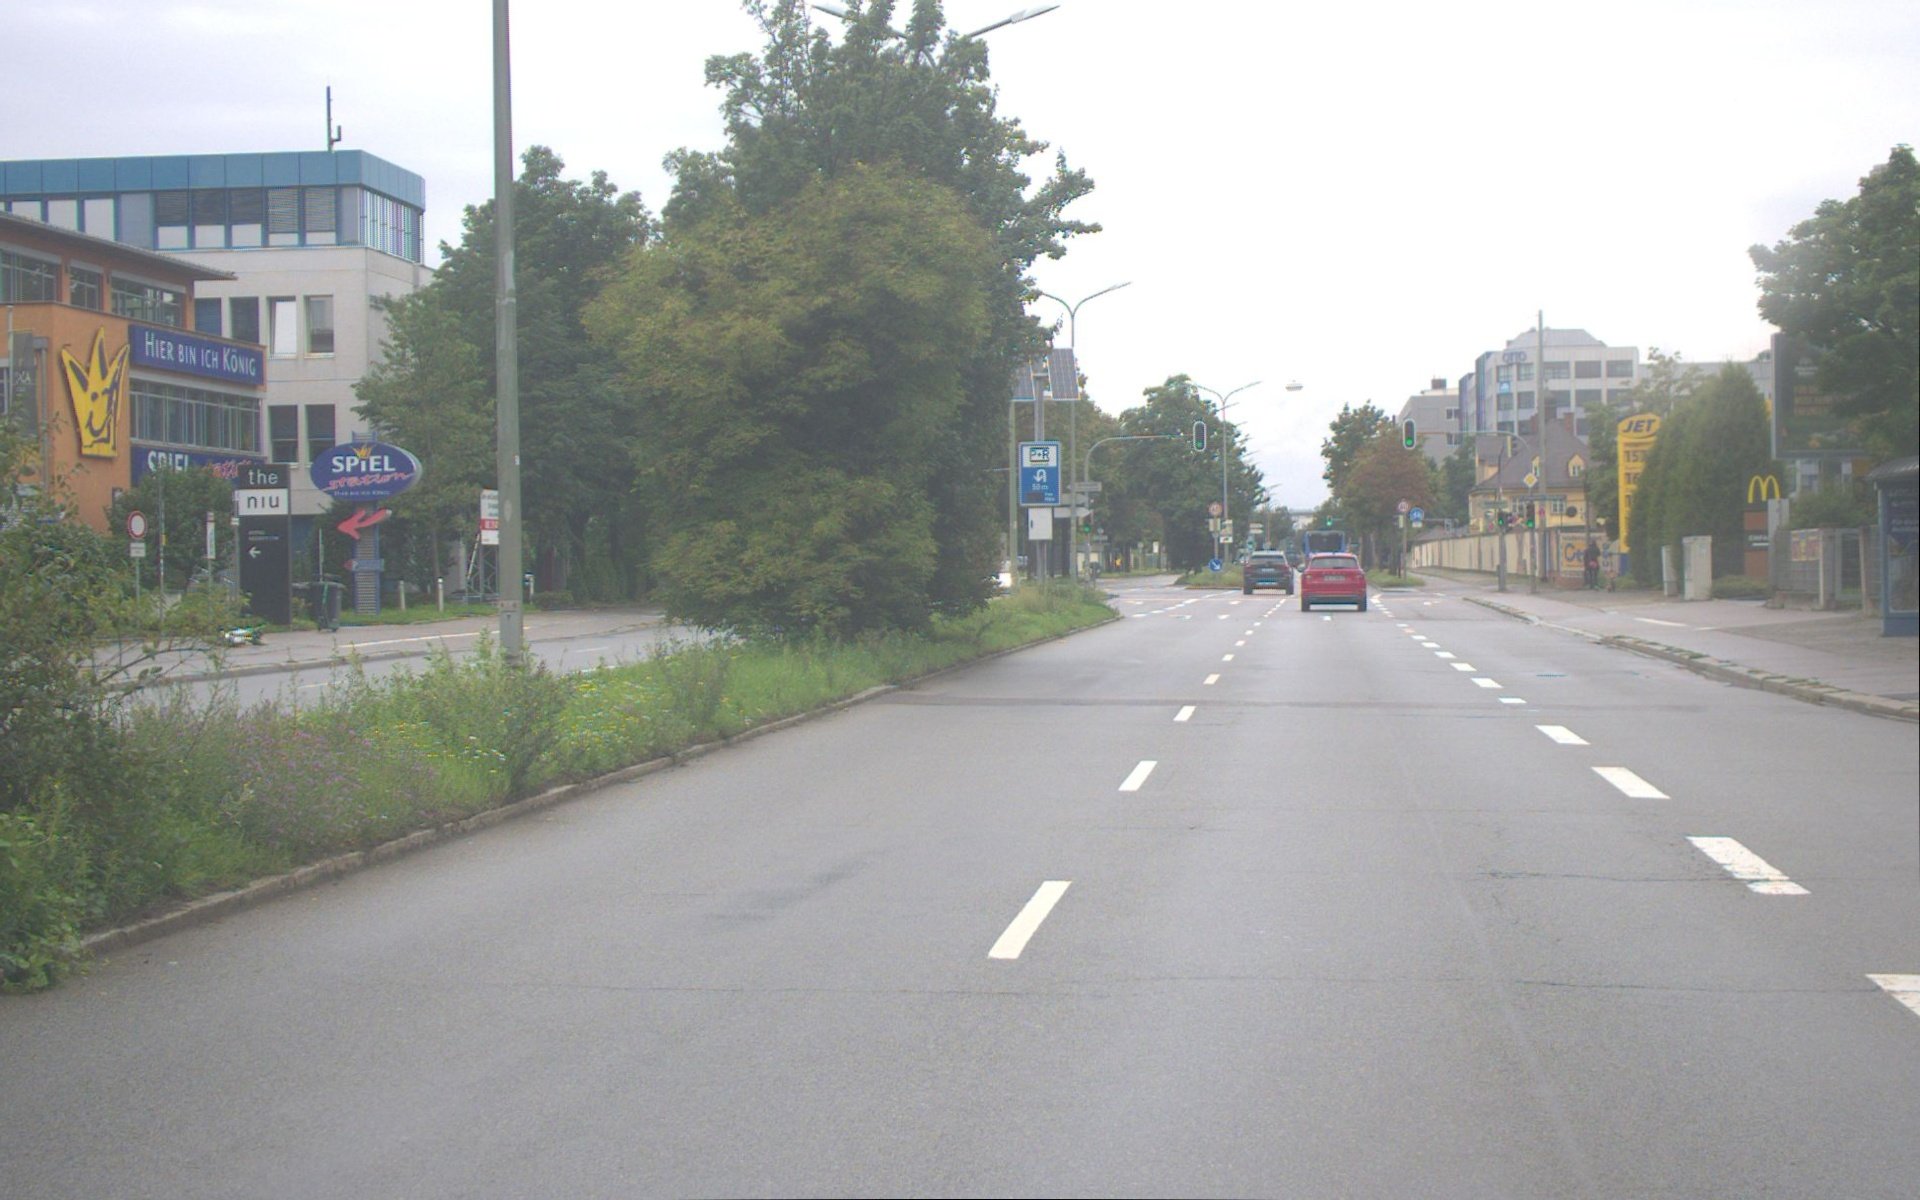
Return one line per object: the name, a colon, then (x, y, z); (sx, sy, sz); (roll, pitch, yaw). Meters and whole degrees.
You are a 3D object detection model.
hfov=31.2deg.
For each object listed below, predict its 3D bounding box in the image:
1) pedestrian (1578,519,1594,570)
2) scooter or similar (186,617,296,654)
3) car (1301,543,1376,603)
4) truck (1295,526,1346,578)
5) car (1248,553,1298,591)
pedestrian: (20.244, -1.798, 111.125); (0.483, 1.630, 0.590); (-1, 1, 11)
scooter or similar: (-13.533, 0.675, 64.777); (1.468, 0.583, 2.320); (-1, -2, 3)
car: (10.417, -0.746, 94.851); (1.862, 1.612, 3.999); (0, 0, 4)
truck: (23.422, -3.094, 223.725); (2.969, 3.274, 7.914); (-1, 1, 4)
car: (12.037, -1.084, 132.362); (1.803, 1.428, 4.000); (-1, 1, 4)
